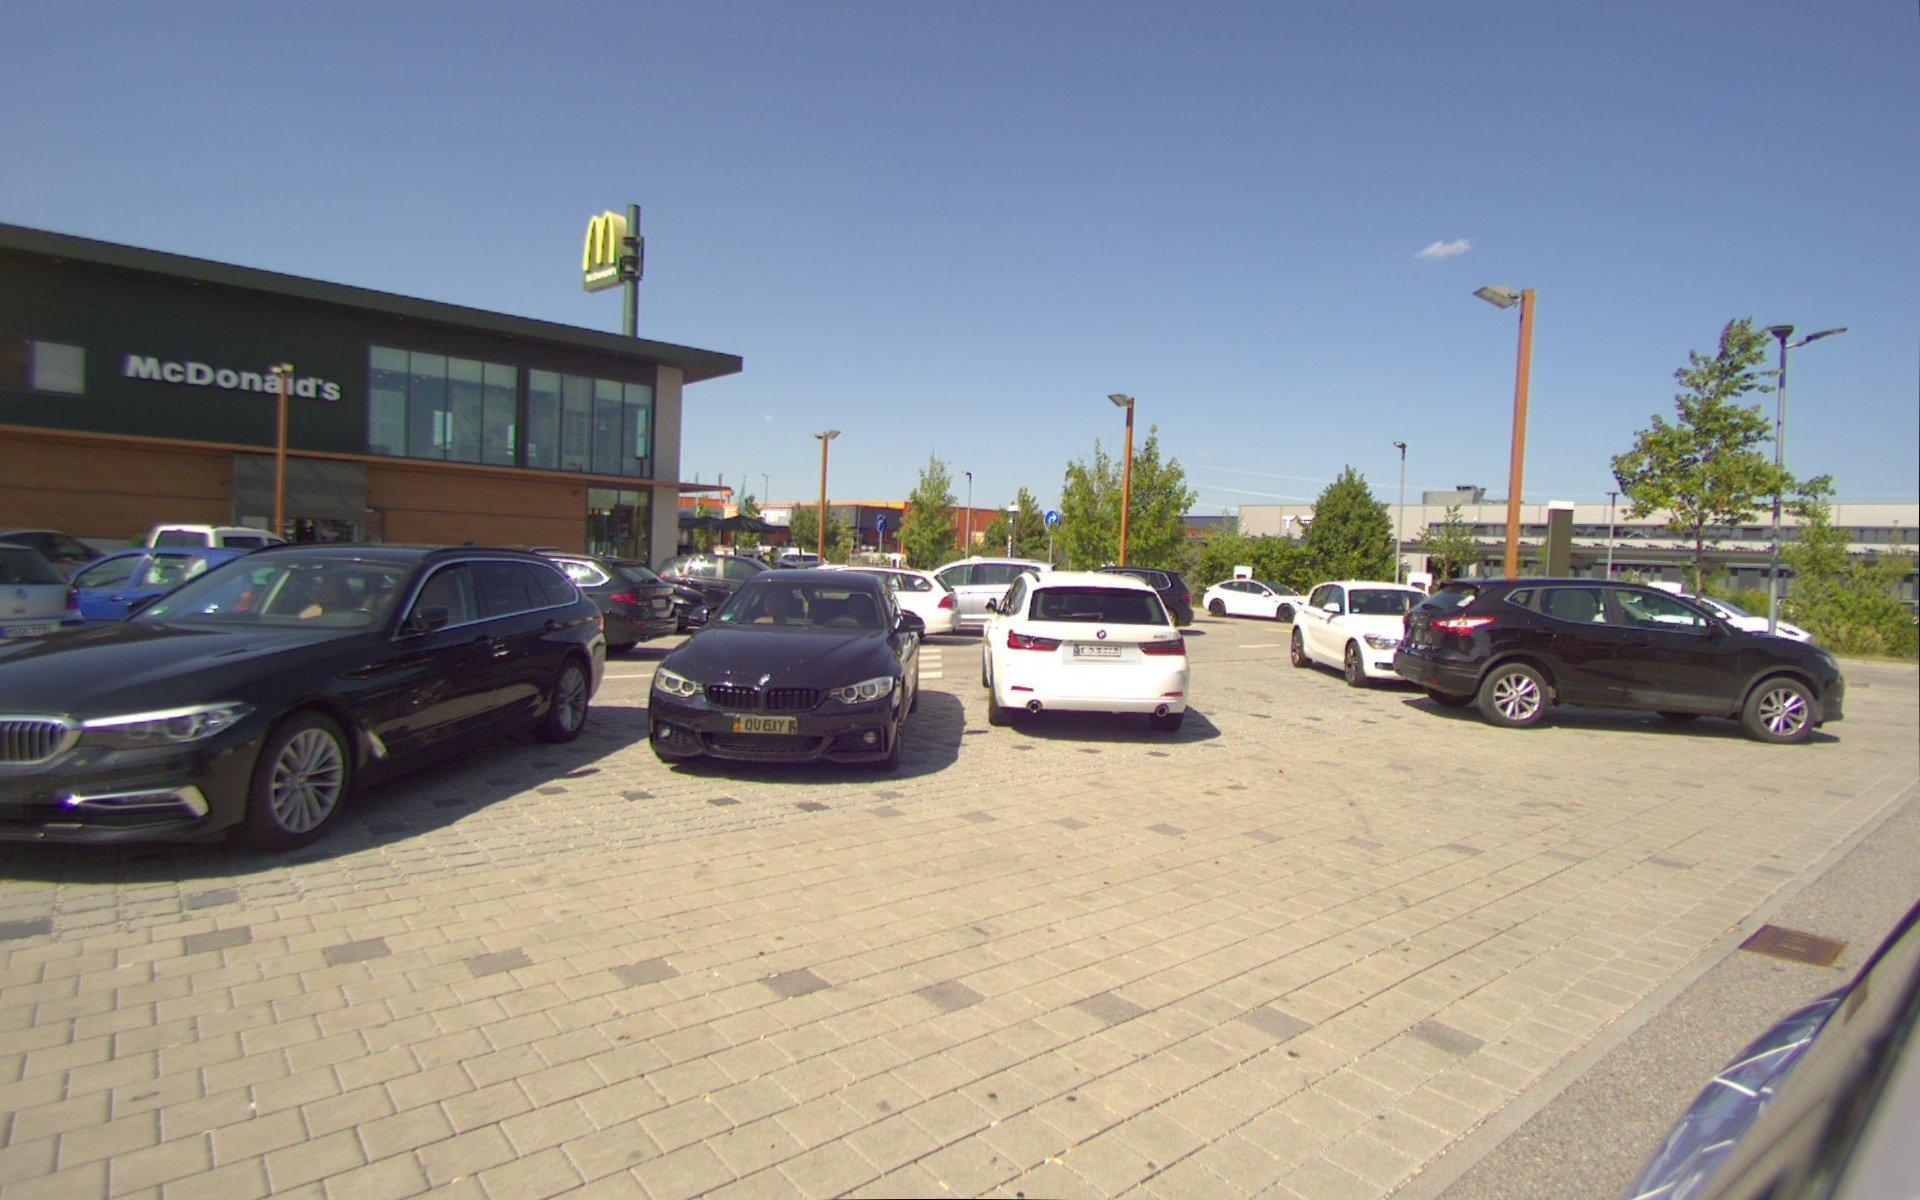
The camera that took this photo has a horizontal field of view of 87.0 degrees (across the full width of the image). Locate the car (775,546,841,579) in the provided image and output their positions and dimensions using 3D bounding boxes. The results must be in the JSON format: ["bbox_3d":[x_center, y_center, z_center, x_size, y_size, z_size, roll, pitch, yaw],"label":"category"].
[{"bbox_3d":[-7.885,-1.959,52.249,1.731,1.581,3.883,1,2,-36],"label":"car"}]

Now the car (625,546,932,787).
[{"bbox_3d":[-1.221,0.354,8.622,1.802,1.477,4.371,2,2,0],"label":"car"}]

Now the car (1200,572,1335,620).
[{"bbox_3d":[10.968,-0.169,36.333,1.809,1.497,4.330,1,3,-39],"label":"car"}]

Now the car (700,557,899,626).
[{"bbox_3d":[-3.945,-0.259,25.303,4.564,1.505,1.893,2,2,6],"label":"car"}]

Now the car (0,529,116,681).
[{"bbox_3d":[-11.483,-0.033,10.628,4.043,1.511,1.710,2,2,6],"label":"car"}]

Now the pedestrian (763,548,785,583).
[{"bbox_3d":[-8.508,-1.566,46.168,0.689,1.579,0.721,0,2,-40],"label":"pedestrian"}]

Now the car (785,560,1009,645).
[{"bbox_3d":[-1.159,0.013,19.325,4.036,1.430,1.814,2,2,-1],"label":"car"}]

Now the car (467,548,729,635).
[{"bbox_3d":[-7.140,-0.208,20.213,4.564,1.505,1.893,2,2,6],"label":"car"}]

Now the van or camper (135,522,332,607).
[{"bbox_3d":[-17.030,-0.833,23.986,1.680,1.797,4.027,2,2,2],"label":"van or camper"}]

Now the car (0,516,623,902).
[{"bbox_3d":[-3.971,0.339,6.423,1.939,1.505,4.782,2,2,2],"label":"car"}]

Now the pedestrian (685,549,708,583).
[{"bbox_3d":[-12.349,-1.586,47.440,0.693,1.579,0.717,2,1,21],"label":"pedestrian"}]

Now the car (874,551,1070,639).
[{"bbox_3d":[0.303,-0.151,21.871,4.043,1.695,1.811,2,2,6],"label":"car"}]

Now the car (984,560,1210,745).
[{"bbox_3d":[1.192,0.363,10.710,1.802,1.477,4.584,2,2,1],"label":"car"}]

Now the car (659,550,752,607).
[{"bbox_3d":[-7.961,-0.691,32.004,1.686,1.633,4.033,2,2,3],"label":"car"}]

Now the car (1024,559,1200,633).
[{"bbox_3d":[3.550,-0.123,24.173,3.927,1.571,1.754,2,1,3],"label":"car"}]

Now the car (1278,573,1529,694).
[{"bbox_3d":[6.357,0.372,15.111,1.939,1.477,4.206,2,2,2],"label":"car"}]

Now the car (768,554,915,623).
[{"bbox_3d":[-3.345,-0.324,28.293,3.875,1.797,1.657,1,1,-14],"label":"car"}]

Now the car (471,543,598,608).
[{"bbox_3d":[-11.879,-0.703,28.530,1.686,1.633,4.033,2,2,3],"label":"car"}]

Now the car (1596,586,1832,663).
[{"bbox_3d":[19.196,0.549,25.929,1.812,1.612,4.567,0,3,-43],"label":"car"}]

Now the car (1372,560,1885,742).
[{"bbox_3d":[7.053,0.470,11.133,4.230,1.610,1.854,3,2,7],"label":"car"}]

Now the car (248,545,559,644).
[{"bbox_3d":[-9.721,-0.148,17.871,4.564,1.505,1.893,2,2,6],"label":"car"}]

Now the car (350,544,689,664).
[{"bbox_3d":[-6.320,0.011,14.779,4.206,1.505,1.811,2,2,6],"label":"car"}]

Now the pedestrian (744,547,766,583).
[{"bbox_3d":[-9.146,-1.554,45.158,0.689,1.579,0.721,0,2,-40],"label":"pedestrian"}]

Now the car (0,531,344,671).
[{"bbox_3d":[-10.301,-0.051,12.801,4.043,1.534,1.811,2,2,6],"label":"car"}]

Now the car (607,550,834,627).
[{"bbox_3d":[-5.287,-0.298,22.641,4.564,1.505,1.893,2,2,6],"label":"car"}]

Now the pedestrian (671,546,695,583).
[{"bbox_3d":[-12.189,-1.553,44.540,0.693,1.579,0.717,2,1,21],"label":"pedestrian"}]

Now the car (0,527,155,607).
[{"bbox_3d":[-19.579,-0.747,21.599,1.681,1.533,3.953,3,2,-1],"label":"car"}]
